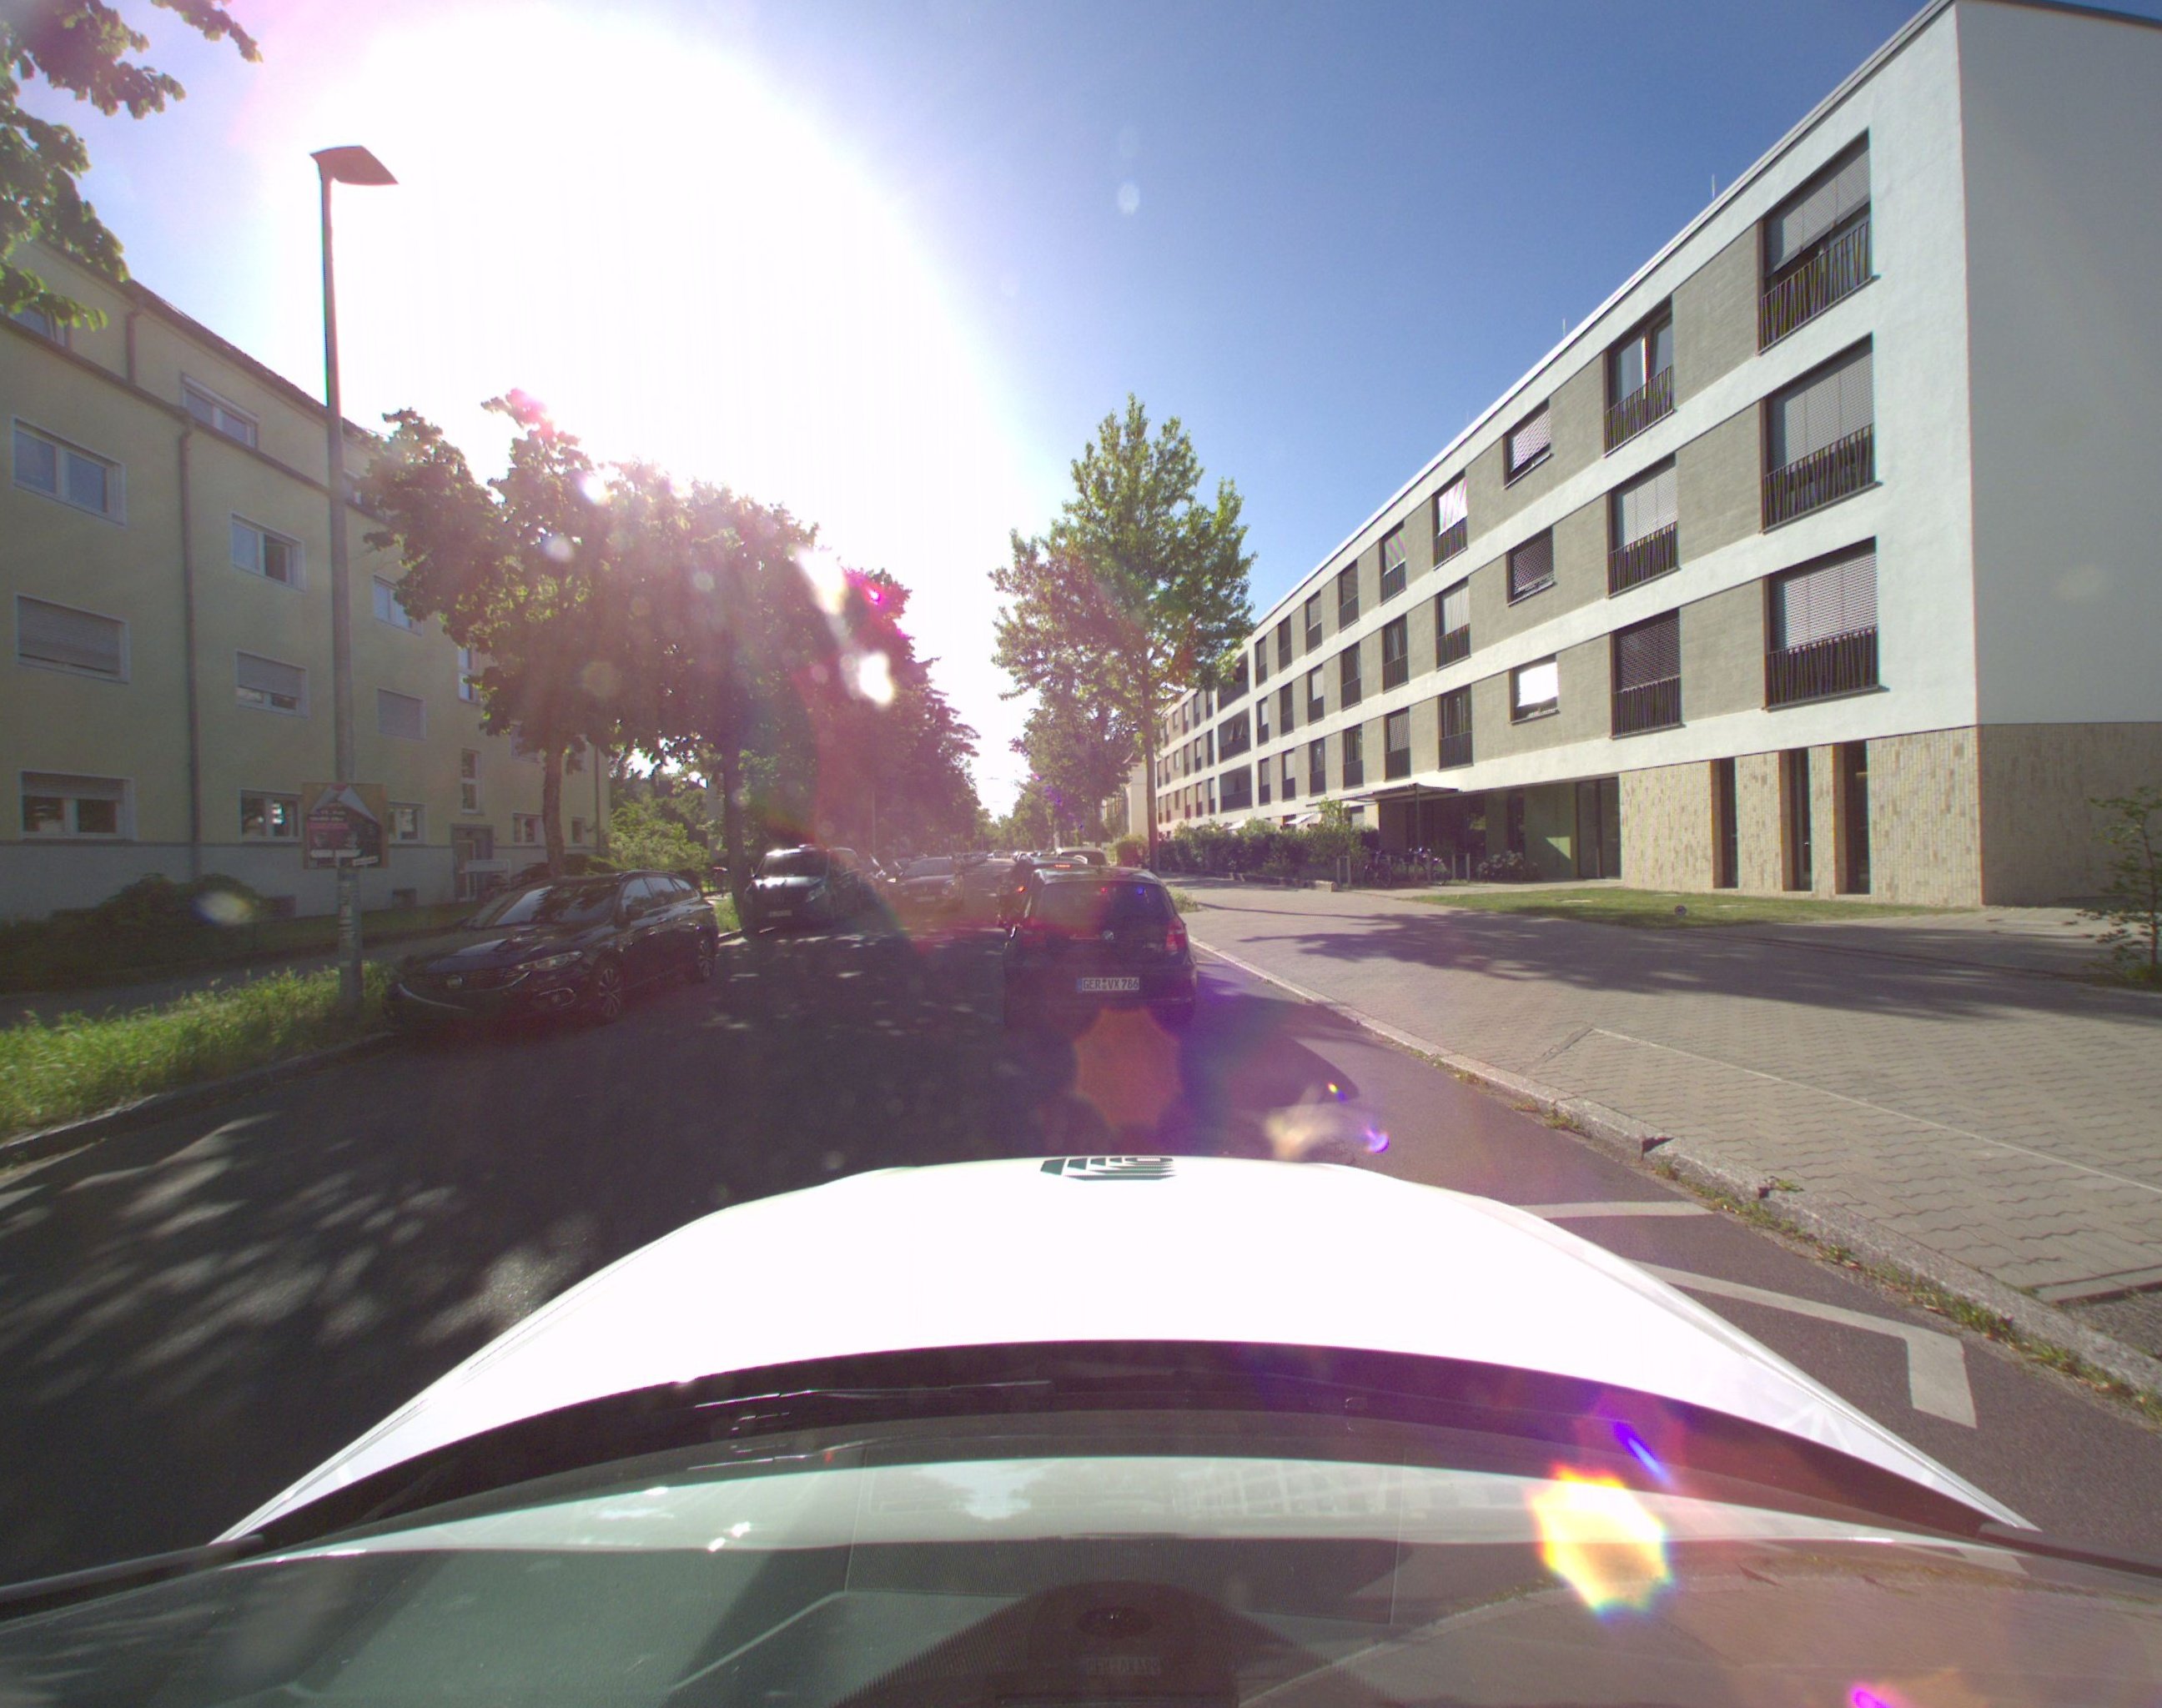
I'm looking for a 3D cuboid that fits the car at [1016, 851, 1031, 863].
[{"bbox_3d":[-7.323,0.364,104.490,1.717,1.480,3.848,-3,0,-2],"label":"car"}]

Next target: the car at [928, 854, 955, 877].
[{"bbox_3d":[-9.937,0.809,58.326,1.610,1.543,3.857,-3,0,-6],"label":"car"}]

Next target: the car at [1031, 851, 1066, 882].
[{"bbox_3d":[-1.783,0.635,43.645,1.718,1.528,3.994,0,0,-4],"label":"car"}]

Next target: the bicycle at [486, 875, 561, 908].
[{"bbox_3d":[-18.356,1.228,26.851,1.924,0.991,0.594,-2,0,-13],"label":"bicycle"}]

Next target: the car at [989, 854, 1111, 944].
[{"bbox_3d":[-0.725,0.737,15.536,1.651,1.425,3.985,-2,1,-12],"label":"car"}]

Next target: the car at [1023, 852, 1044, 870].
[{"bbox_3d":[-4.036,0.574,69.414,1.718,1.480,3.845,0,0,-4],"label":"car"}]

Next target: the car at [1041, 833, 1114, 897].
[{"bbox_3d":[-0.191,0.300,23.615,1.844,1.631,4.404,-1,0,-4],"label":"car"}]

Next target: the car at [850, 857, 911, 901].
[{"bbox_3d":[-7.477,0.879,30.724,1.610,1.427,4.049,-3,0,-6],"label":"car"}]

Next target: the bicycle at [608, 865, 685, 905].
[{"bbox_3d":[-14.685,1.033,27.593,2.150,1.208,0.686,-2,0,-17],"label":"bicycle"}]

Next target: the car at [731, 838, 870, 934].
[{"bbox_3d":[-6.521,0.659,19.584,1.823,1.904,5.133,-3,0,-5],"label":"car"}]

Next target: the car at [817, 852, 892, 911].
[{"bbox_3d":[-6.969,0.793,25.450,1.611,1.611,4.218,-3,0,-8],"label":"car"}]

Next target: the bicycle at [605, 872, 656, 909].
[{"bbox_3d":[-13.697,1.097,24.815,0.594,0.991,1.924,-2,0,-5],"label":"bicycle"}]

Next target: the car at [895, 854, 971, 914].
[{"bbox_3d":[-3.956,0.769,22.179,1.501,1.426,3.175,-2,0,-2],"label":"car"}]

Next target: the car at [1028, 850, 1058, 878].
[{"bbox_3d":[-2.356,0.567,49.614,1.718,1.641,3.845,0,0,-4],"label":"car"}]

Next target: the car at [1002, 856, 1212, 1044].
[{"bbox_3d":[0.059,0.770,8.248,1.647,1.396,3.404,-2,0,-6],"label":"car"}]

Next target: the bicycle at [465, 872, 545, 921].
[{"bbox_3d":[-13.295,0.955,18.876,0.594,0.991,1.924,-2,0,-5],"label":"bicycle"}]

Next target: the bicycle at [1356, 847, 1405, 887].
[{"bbox_3d":[8.473,0.350,23.106,0.545,1.055,1.687,-3,0,-8],"label":"bicycle"}]

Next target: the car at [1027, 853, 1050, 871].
[{"bbox_3d":[-3.424,0.627,64.674,1.718,1.379,3.845,0,0,-4],"label":"car"}]

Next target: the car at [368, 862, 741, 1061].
[{"bbox_3d":[-5.515,0.938,9.407,1.505,1.548,4.769,-4,0,-6],"label":"car"}]

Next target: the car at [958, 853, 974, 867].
[{"bbox_3d":[-12.908,0.670,91.800,1.610,1.392,3.857,-3,0,-6],"label":"car"}]

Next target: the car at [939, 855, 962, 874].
[{"bbox_3d":[-10.836,0.854,67.722,1.610,1.392,3.857,-3,0,-6],"label":"car"}]

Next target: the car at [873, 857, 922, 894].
[{"bbox_3d":[-7.997,0.889,35.782,1.610,1.427,3.718,-3,0,-6],"label":"car"}]

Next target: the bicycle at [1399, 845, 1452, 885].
[{"bbox_3d":[9.823,0.301,23.289,0.545,1.055,1.775,-3,0,-8],"label":"bicycle"}]

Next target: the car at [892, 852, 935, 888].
[{"bbox_3d":[-8.415,0.761,41.198,1.610,1.678,4.225,-3,0,-6],"label":"car"}]
